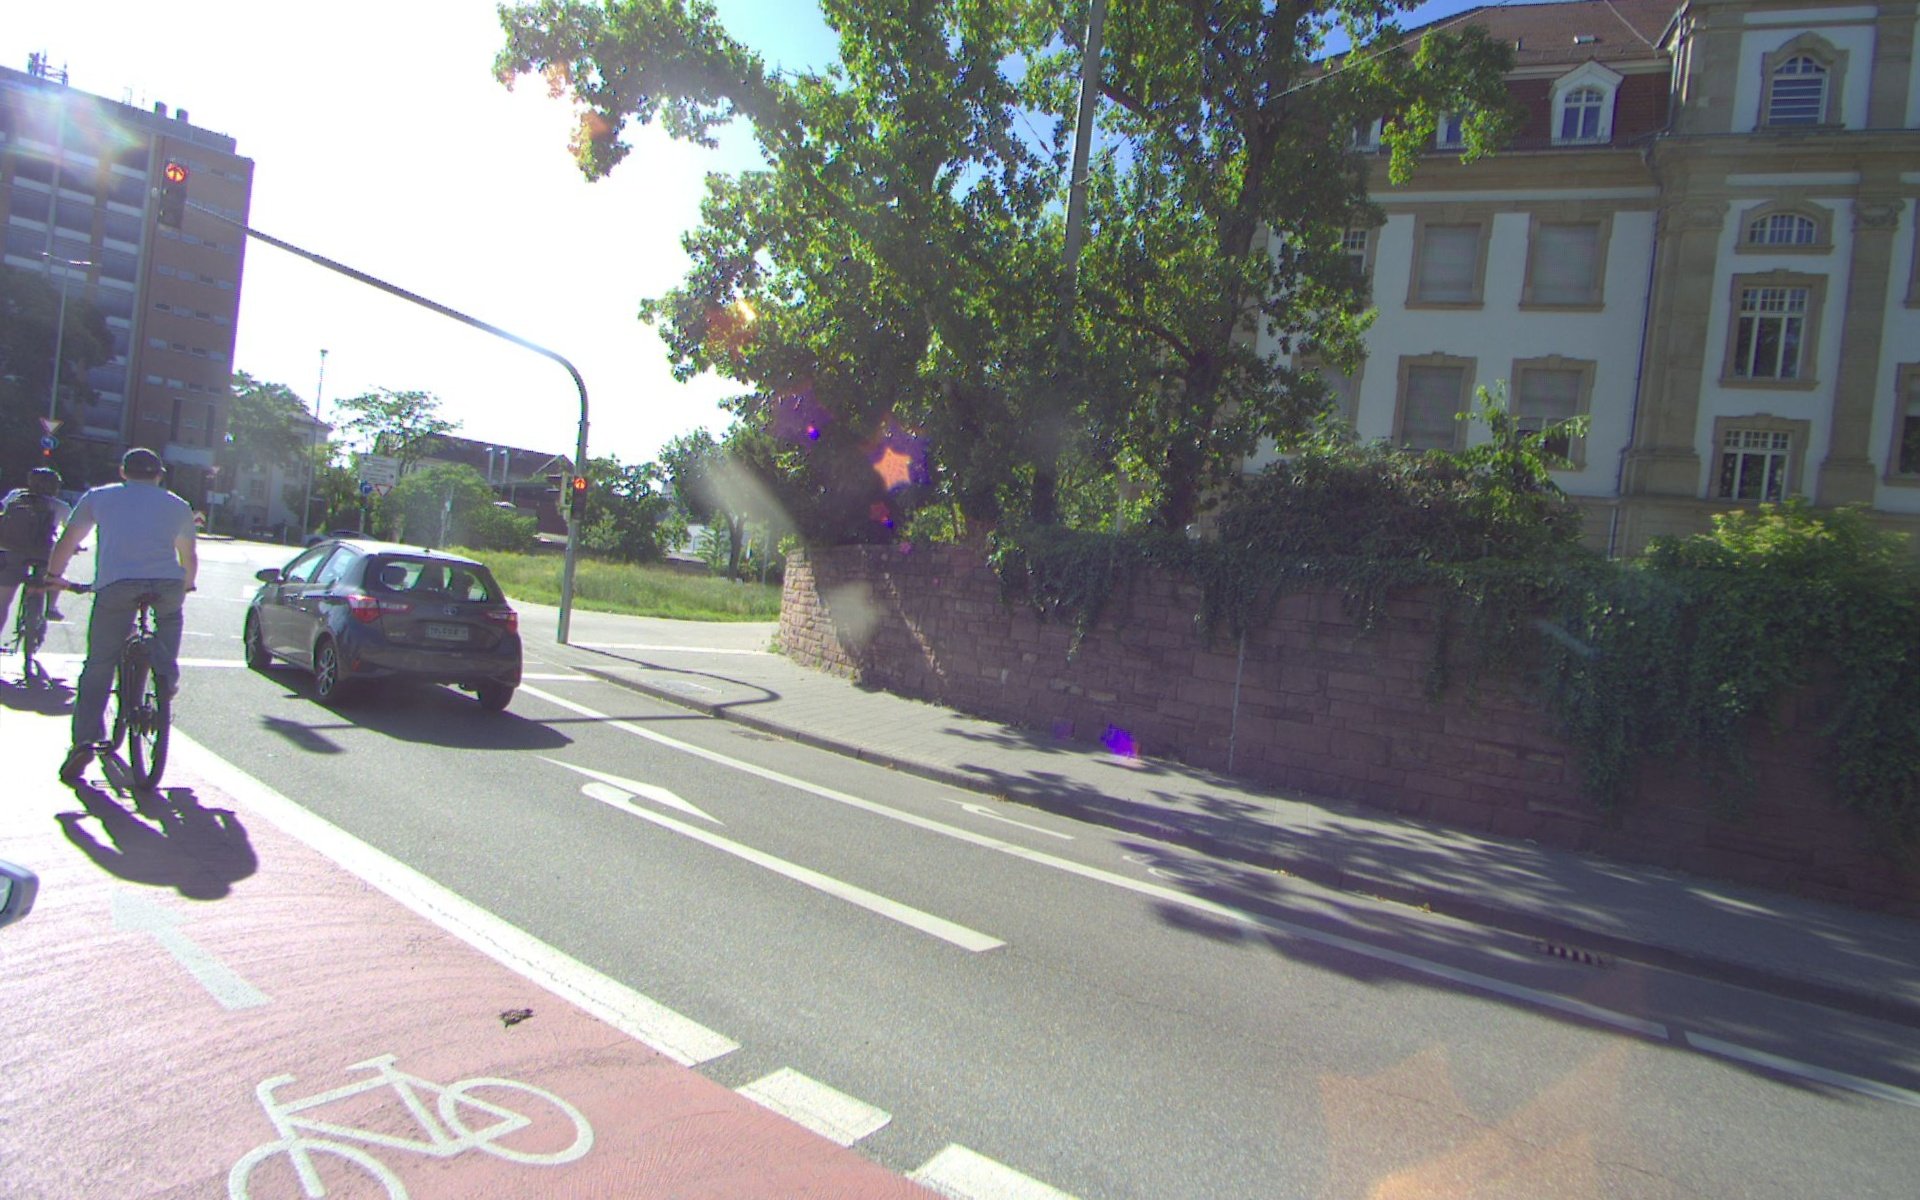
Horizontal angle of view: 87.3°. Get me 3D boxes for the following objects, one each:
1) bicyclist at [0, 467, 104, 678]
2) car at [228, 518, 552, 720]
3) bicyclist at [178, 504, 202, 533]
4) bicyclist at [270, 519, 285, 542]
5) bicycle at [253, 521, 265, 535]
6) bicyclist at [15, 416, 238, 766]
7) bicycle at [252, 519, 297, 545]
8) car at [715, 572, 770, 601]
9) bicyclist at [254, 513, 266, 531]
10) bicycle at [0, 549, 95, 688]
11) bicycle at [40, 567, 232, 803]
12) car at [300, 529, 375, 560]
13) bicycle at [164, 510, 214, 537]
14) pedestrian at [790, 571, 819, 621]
[{"bbox_3d":[-7.855,-0.243,8.518,0.720,1.645,1.042,8,-1,-44],"label":"bicyclist"},{"bbox_3d":[-5.982,0.137,10.397,3.609,1.559,1.754,6,-2,43],"label":"car"},{"bbox_3d":[-57.068,-6.055,74.565,1.199,1.919,0.877,7,-1,-33],"label":"bicyclist"},{"bbox_3d":[-54.024,-5.509,79.636,0.852,1.712,0.877,7,-1,-33],"label":"bicyclist"},{"bbox_3d":[-60.883,-6.265,87.400,0.603,1.106,1.660,6,1,-27],"label":"bicycle"},{"bbox_3d":[-4.784,-0.042,5.761,1.001,1.797,0.748,7,0,45],"label":"bicyclist"},{"bbox_3d":[-54.182,-5.365,79.521,2.784,1.559,0.877,8,-2,-34],"label":"bicycle"},{"bbox_3d":[-19.657,-1.236,90.925,4.310,2.037,1.988,7,-2,-27],"label":"car"},{"bbox_3d":[-60.814,-6.742,87.360,0.613,1.462,0.813,6,1,-28],"label":"bicyclist"},{"bbox_3d":[-7.971,0.118,8.578,0.721,0.971,1.860,8,-1,-44],"label":"bicycle"},{"bbox_3d":[-4.842,0.432,5.860,0.609,1.090,1.806,7,-1,-45],"label":"bicycle"},{"bbox_3d":[-42.266,-3.759,68.336,4.208,1.589,1.806,5,1,-35],"label":"car"},{"bbox_3d":[-57.127,-5.647,74.566,2.784,1.559,0.877,8,-2,-34],"label":"bicycle"},{"bbox_3d":[-6.074,-0.152,39.371,0.746,1.856,1.049,6,1,4],"label":"pedestrian"}]
